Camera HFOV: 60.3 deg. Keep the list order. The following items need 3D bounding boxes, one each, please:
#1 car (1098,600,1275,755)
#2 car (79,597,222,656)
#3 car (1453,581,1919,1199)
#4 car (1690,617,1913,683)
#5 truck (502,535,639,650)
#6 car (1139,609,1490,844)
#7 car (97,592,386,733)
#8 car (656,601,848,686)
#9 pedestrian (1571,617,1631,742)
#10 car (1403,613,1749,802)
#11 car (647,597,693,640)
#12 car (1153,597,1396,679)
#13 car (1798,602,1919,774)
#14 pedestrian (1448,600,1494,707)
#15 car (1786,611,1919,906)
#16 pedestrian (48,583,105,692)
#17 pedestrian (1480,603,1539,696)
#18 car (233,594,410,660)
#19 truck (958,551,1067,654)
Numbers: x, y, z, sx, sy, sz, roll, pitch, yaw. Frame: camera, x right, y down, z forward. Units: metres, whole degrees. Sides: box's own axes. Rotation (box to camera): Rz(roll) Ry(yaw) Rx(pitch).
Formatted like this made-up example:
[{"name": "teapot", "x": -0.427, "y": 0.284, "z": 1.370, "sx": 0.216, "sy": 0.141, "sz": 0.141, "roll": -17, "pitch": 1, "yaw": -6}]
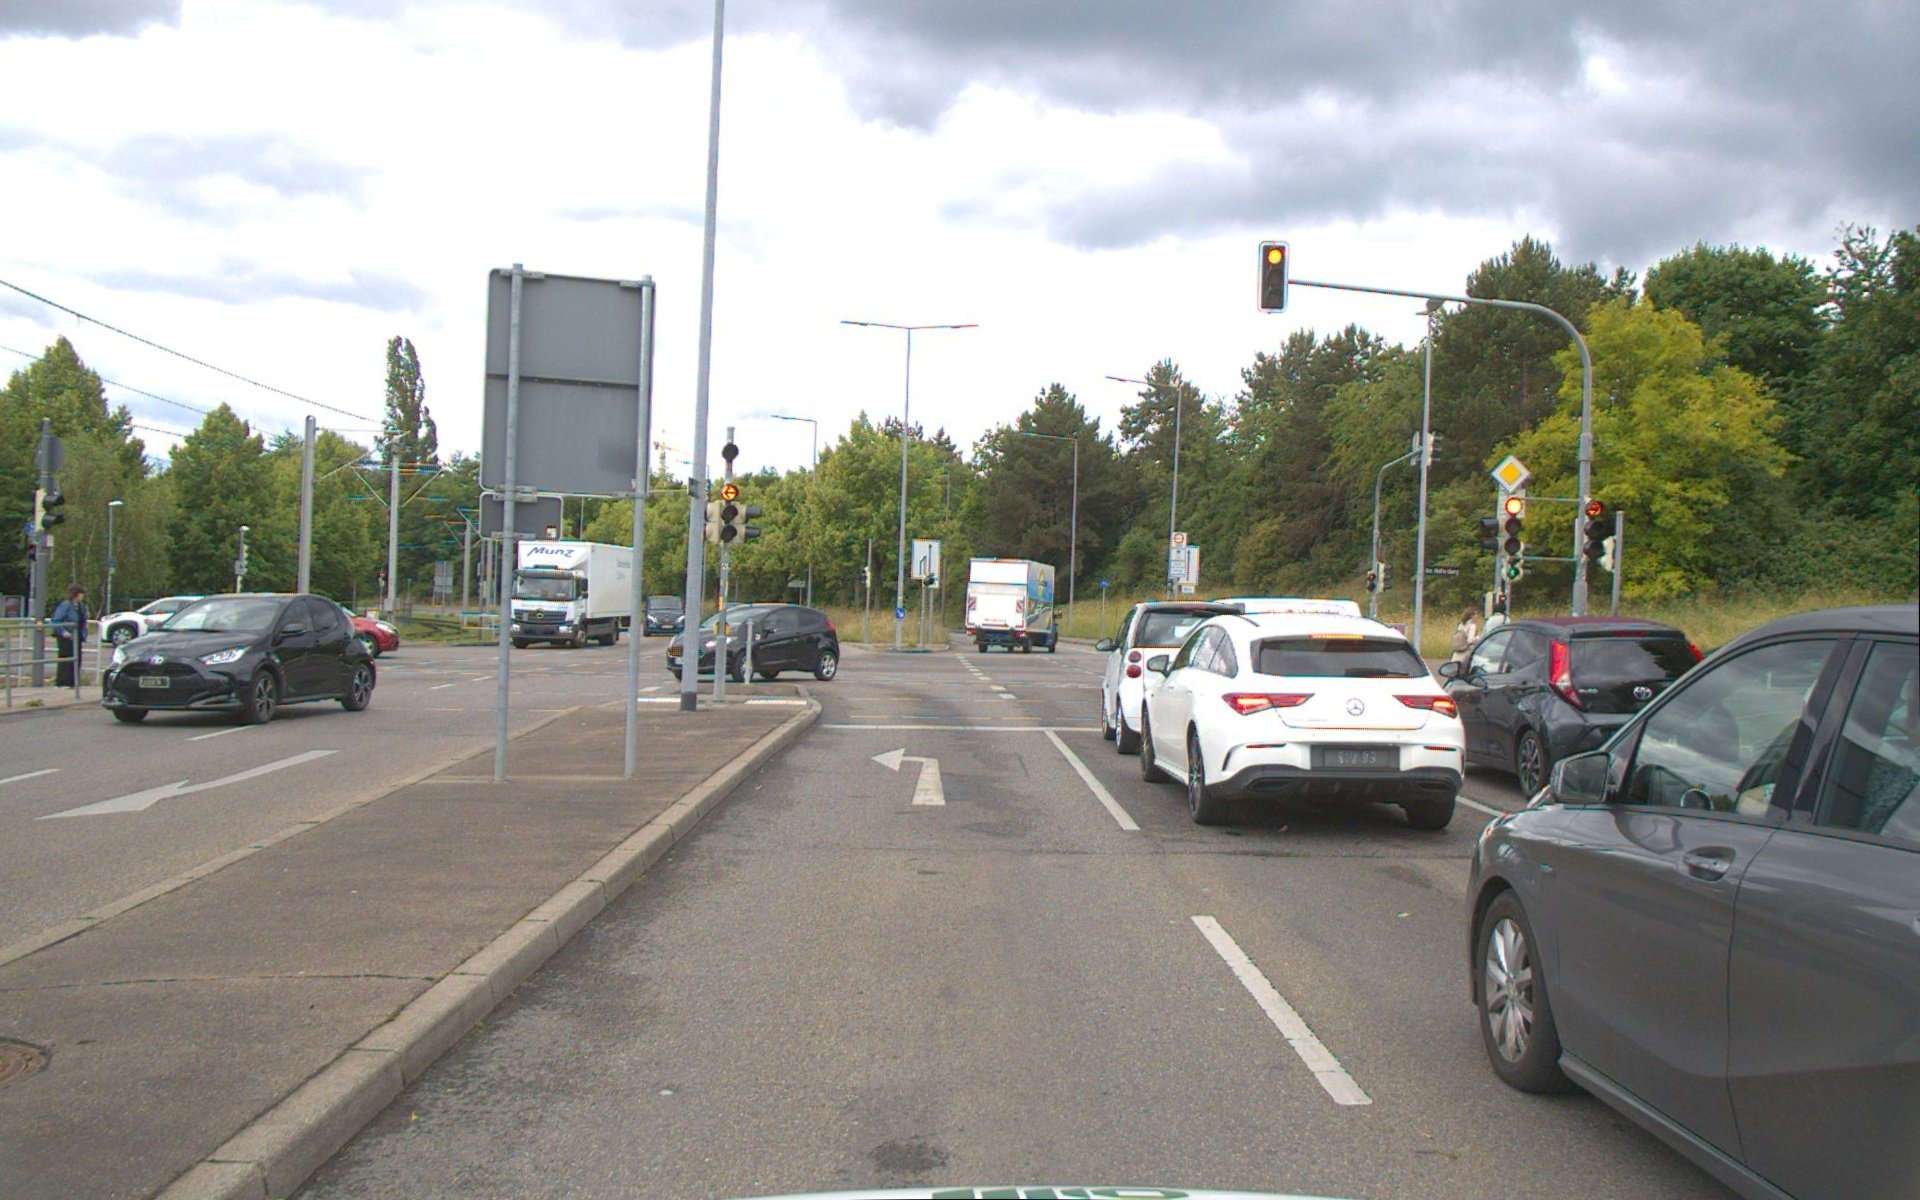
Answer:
[{"name": "car", "x": 2.375, "y": 0.778, "z": 17.848, "sx": 1.504, "sy": 1.530, "sz": 2.669, "roll": 1, "pitch": 0, "yaw": -1}, {"name": "car", "x": -23.623, "y": 0.735, "z": 48.378, "sx": 3.688, "sy": 1.534, "sz": 1.767, "roll": -1, "pitch": 3, "yaw": -26}, {"name": "car", "x": 2.604, "y": 0.740, "z": 3.814, "sx": 1.762, "sy": 1.550, "sz": 4.188, "roll": 0, "pitch": 0, "yaw": 1}, {"name": "car", "x": 20.140, "y": 1.169, "z": 39.764, "sx": 4.395, "sy": 1.487, "sz": 2.002, "roll": 0, "pitch": 0, "yaw": 10}, {"name": "truck", "x": -13.752, "y": -0.220, "z": 59.232, "sx": 2.606, "sy": 3.713, "sz": 9.501, "roll": 1, "pitch": 0, "yaw": 0}, {"name": "car", "x": 2.470, "y": 0.809, "z": 12.594, "sx": 1.686, "sy": 1.446, "sz": 4.356, "roll": 1, "pitch": 0, "yaw": -1}, {"name": "car", "x": -8.454, "y": 0.664, "z": 19.850, "sx": 1.560, "sy": 1.522, "sz": 3.941, "roll": 0, "pitch": 0, "yaw": 3}, {"name": "car", "x": -3.919, "y": 0.785, "z": 31.681, "sx": 1.605, "sy": 1.505, "sz": 3.766, "roll": 0, "pitch": 0, "yaw": 33}, {"name": "pedestrian", "x": 7.761, "y": 0.958, "z": 20.029, "sx": 0.598, "sy": 1.479, "sz": 0.354, "roll": 1, "pitch": 0, "yaw": 8}, {"name": "car", "x": 5.292, "y": 0.846, "z": 14.762, "sx": 1.514, "sy": 1.428, "sz": 3.999, "roll": 0, "pitch": 0, "yaw": -2}, {"name": "car", "x": -13.546, "y": 0.836, "z": 77.382, "sx": 1.879, "sy": 1.757, "sz": 3.996, "roll": 0, "pitch": 3, "yaw": -7}, {"name": "car", "x": 7.392, "y": 0.911, "z": 39.084, "sx": 5.317, "sy": 1.847, "sz": 1.996, "roll": 1, "pitch": -2, "yaw": -8}, {"name": "car", "x": 10.458, "y": 0.899, "z": 18.100, "sx": 1.667, "sy": 1.666, "sz": 4.245, "roll": 3, "pitch": 1, "yaw": 19}, {"name": "pedestrian", "x": 8.131, "y": 0.838, "z": 26.325, "sx": 0.598, "sy": 1.662, "sz": 0.614, "roll": 1, "pitch": 0, "yaw": 8}, {"name": "car", "x": 5.718, "y": 0.823, "z": 7.559, "sx": 1.788, "sy": 1.460, "sz": 4.213, "roll": 1, "pitch": 0, "yaw": 0}, {"name": "pedestrian", "x": -13.234, "y": 0.546, "z": 24.786, "sx": 0.347, "sy": 1.583, "sz": 0.651, "roll": 2, "pitch": 3, "yaw": 33}, {"name": "pedestrian", "x": 9.598, "y": 0.863, "z": 28.905, "sx": 0.846, "sy": 1.588, "sz": 0.518, "roll": 1, "pitch": 0, "yaw": -3}, {"name": "car", "x": -16.464, "y": 0.714, "z": 42.823, "sx": 3.914, "sy": 1.543, "sz": 1.728, "roll": 2, "pitch": -2, "yaw": -10}, {"name": "truck", "x": 2.110, "y": 0.110, "z": 63.223, "sx": 2.626, "sy": 3.662, "sz": 7.269, "roll": 1, "pitch": 0, "yaw": 14}]
